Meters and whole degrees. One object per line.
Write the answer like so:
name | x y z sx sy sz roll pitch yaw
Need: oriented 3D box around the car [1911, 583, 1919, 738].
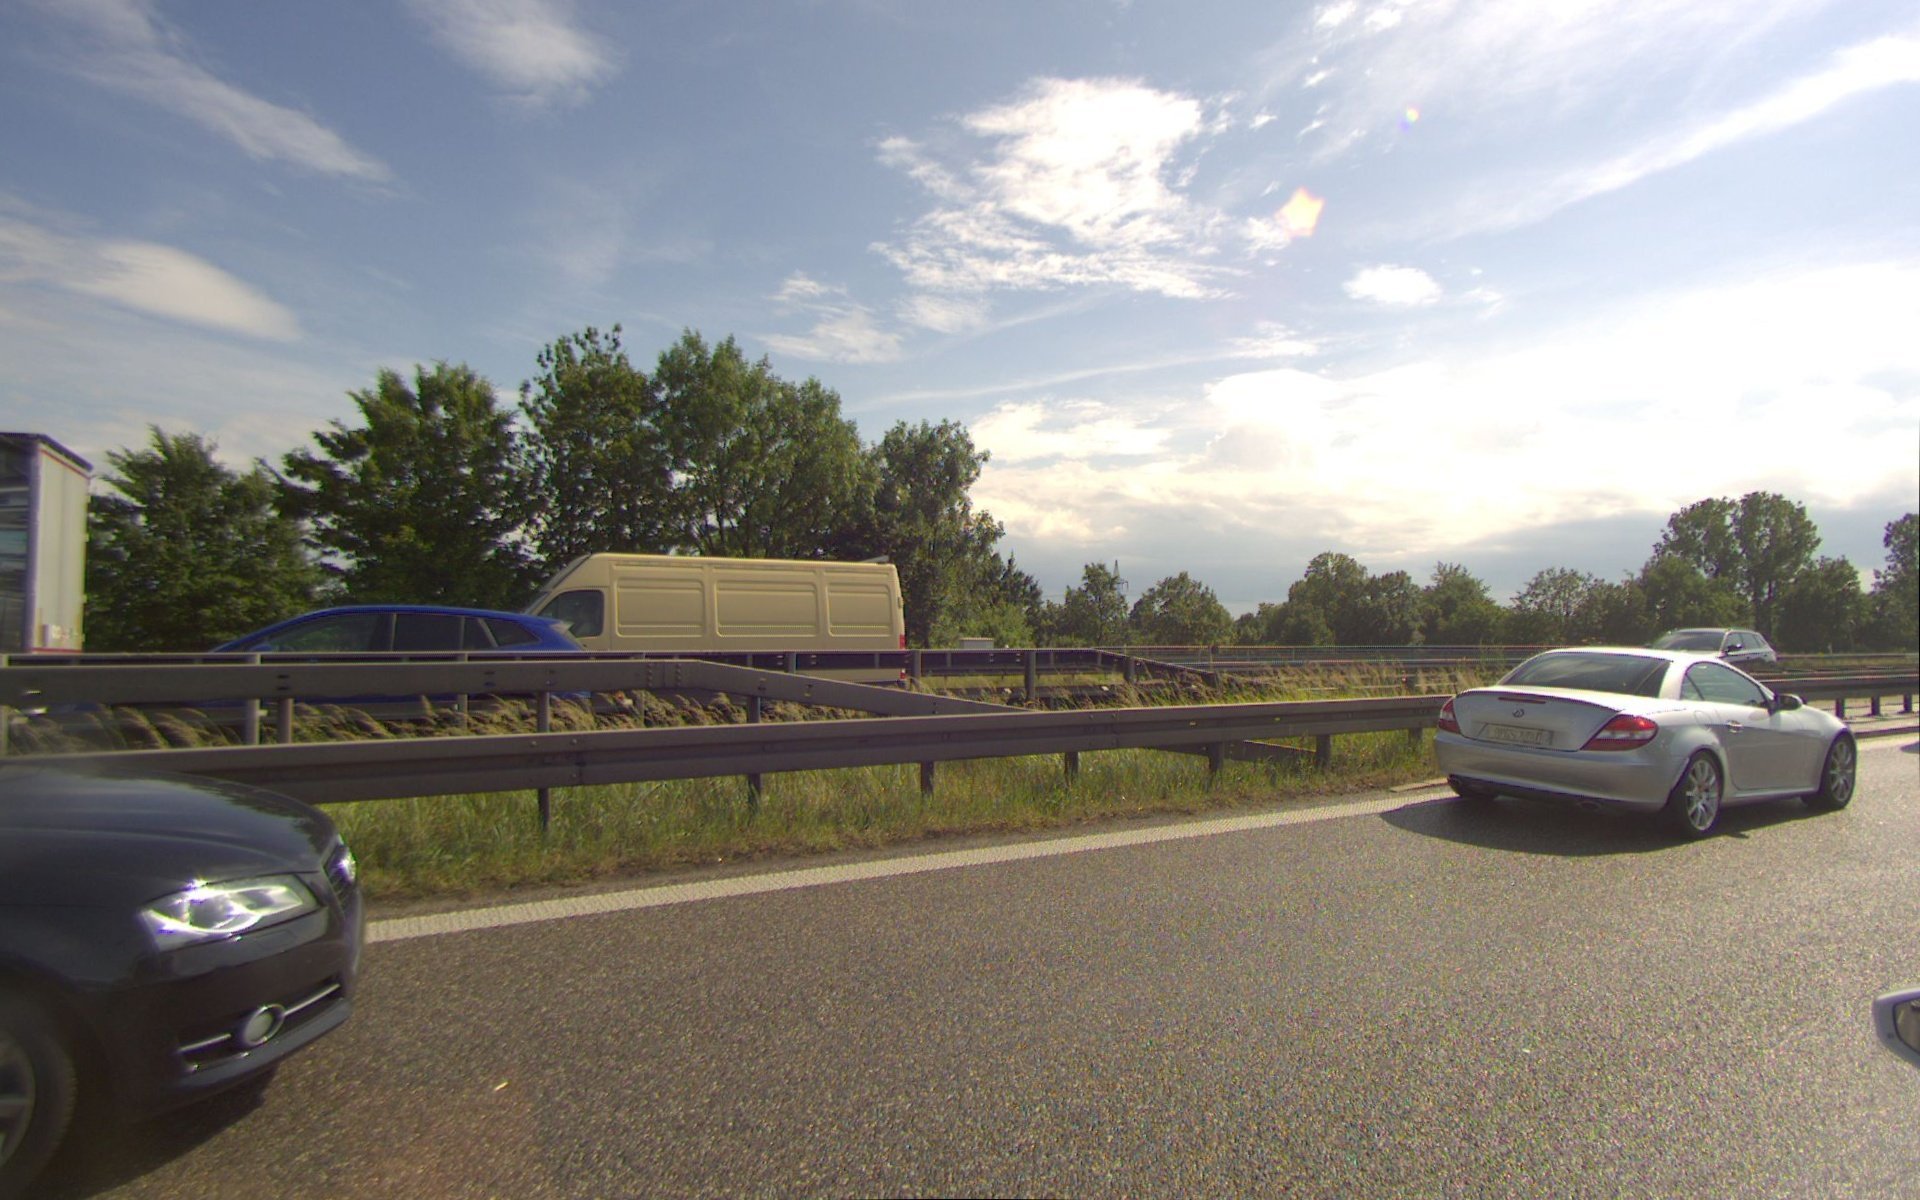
car | 15.348 0.844 13.772 5.207 2.040 1.984 1 -1 -30

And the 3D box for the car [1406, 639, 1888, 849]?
car | 5.688 0.994 8.216 4.016 1.295 1.716 1 -1 -30

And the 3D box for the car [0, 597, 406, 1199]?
car | -3.676 0.699 2.382 4.088 1.444 1.759 2 0 -29

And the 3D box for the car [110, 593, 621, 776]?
car | -5.750 0.746 10.192 4.050 1.479 1.984 2 1 -30

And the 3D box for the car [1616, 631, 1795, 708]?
car | 17.496 1.585 23.563 3.953 1.606 1.984 2 -1 -30

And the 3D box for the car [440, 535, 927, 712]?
car | -3.996 0.338 15.323 6.898 2.238 1.984 1 0 -31

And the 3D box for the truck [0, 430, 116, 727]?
truck | -16.813 -0.427 12.384 9.314 3.903 2.835 2 -1 -31
